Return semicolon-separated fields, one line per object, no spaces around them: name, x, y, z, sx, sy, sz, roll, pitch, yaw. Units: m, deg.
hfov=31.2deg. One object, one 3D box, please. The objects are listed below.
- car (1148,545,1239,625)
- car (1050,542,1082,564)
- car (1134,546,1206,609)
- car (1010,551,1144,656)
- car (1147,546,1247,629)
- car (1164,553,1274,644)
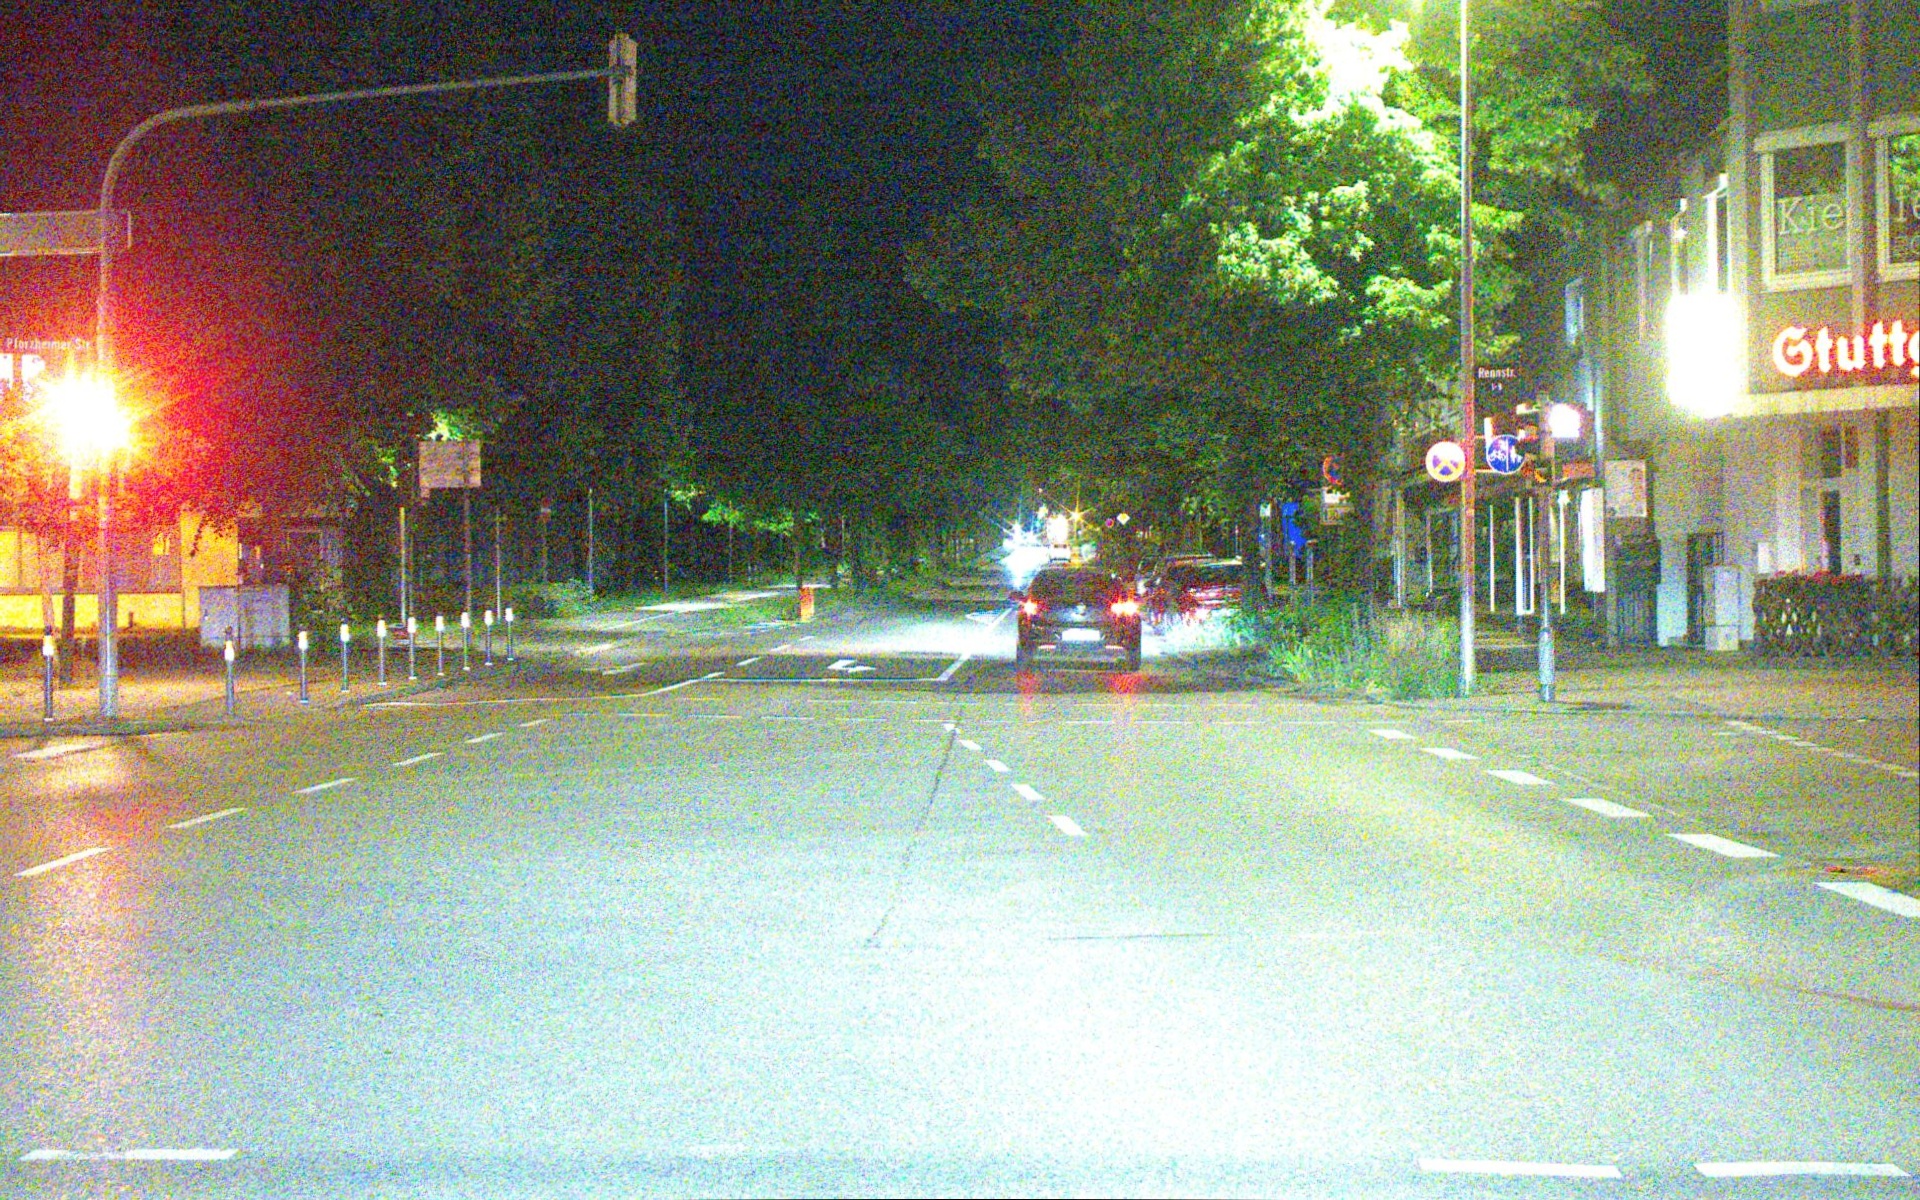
car;5.167;-0.343;76.472;1.876;1.723;4.000;0;1;2
car;7.959;-3.526;259.190;2.227;1.645;4.000;0;1;-1
car;5.748;-0.627;94.514;1.876;1.678;4.000;0;1;2
car;1.682;0.026;50.756;1.873;1.449;4.316;1;1;1
car;4.707;-0.262;68.801;1.876;1.610;4.000;0;1;2
car;4.749;-0.055;63.479;1.876;1.610;4.000;0;1;2
